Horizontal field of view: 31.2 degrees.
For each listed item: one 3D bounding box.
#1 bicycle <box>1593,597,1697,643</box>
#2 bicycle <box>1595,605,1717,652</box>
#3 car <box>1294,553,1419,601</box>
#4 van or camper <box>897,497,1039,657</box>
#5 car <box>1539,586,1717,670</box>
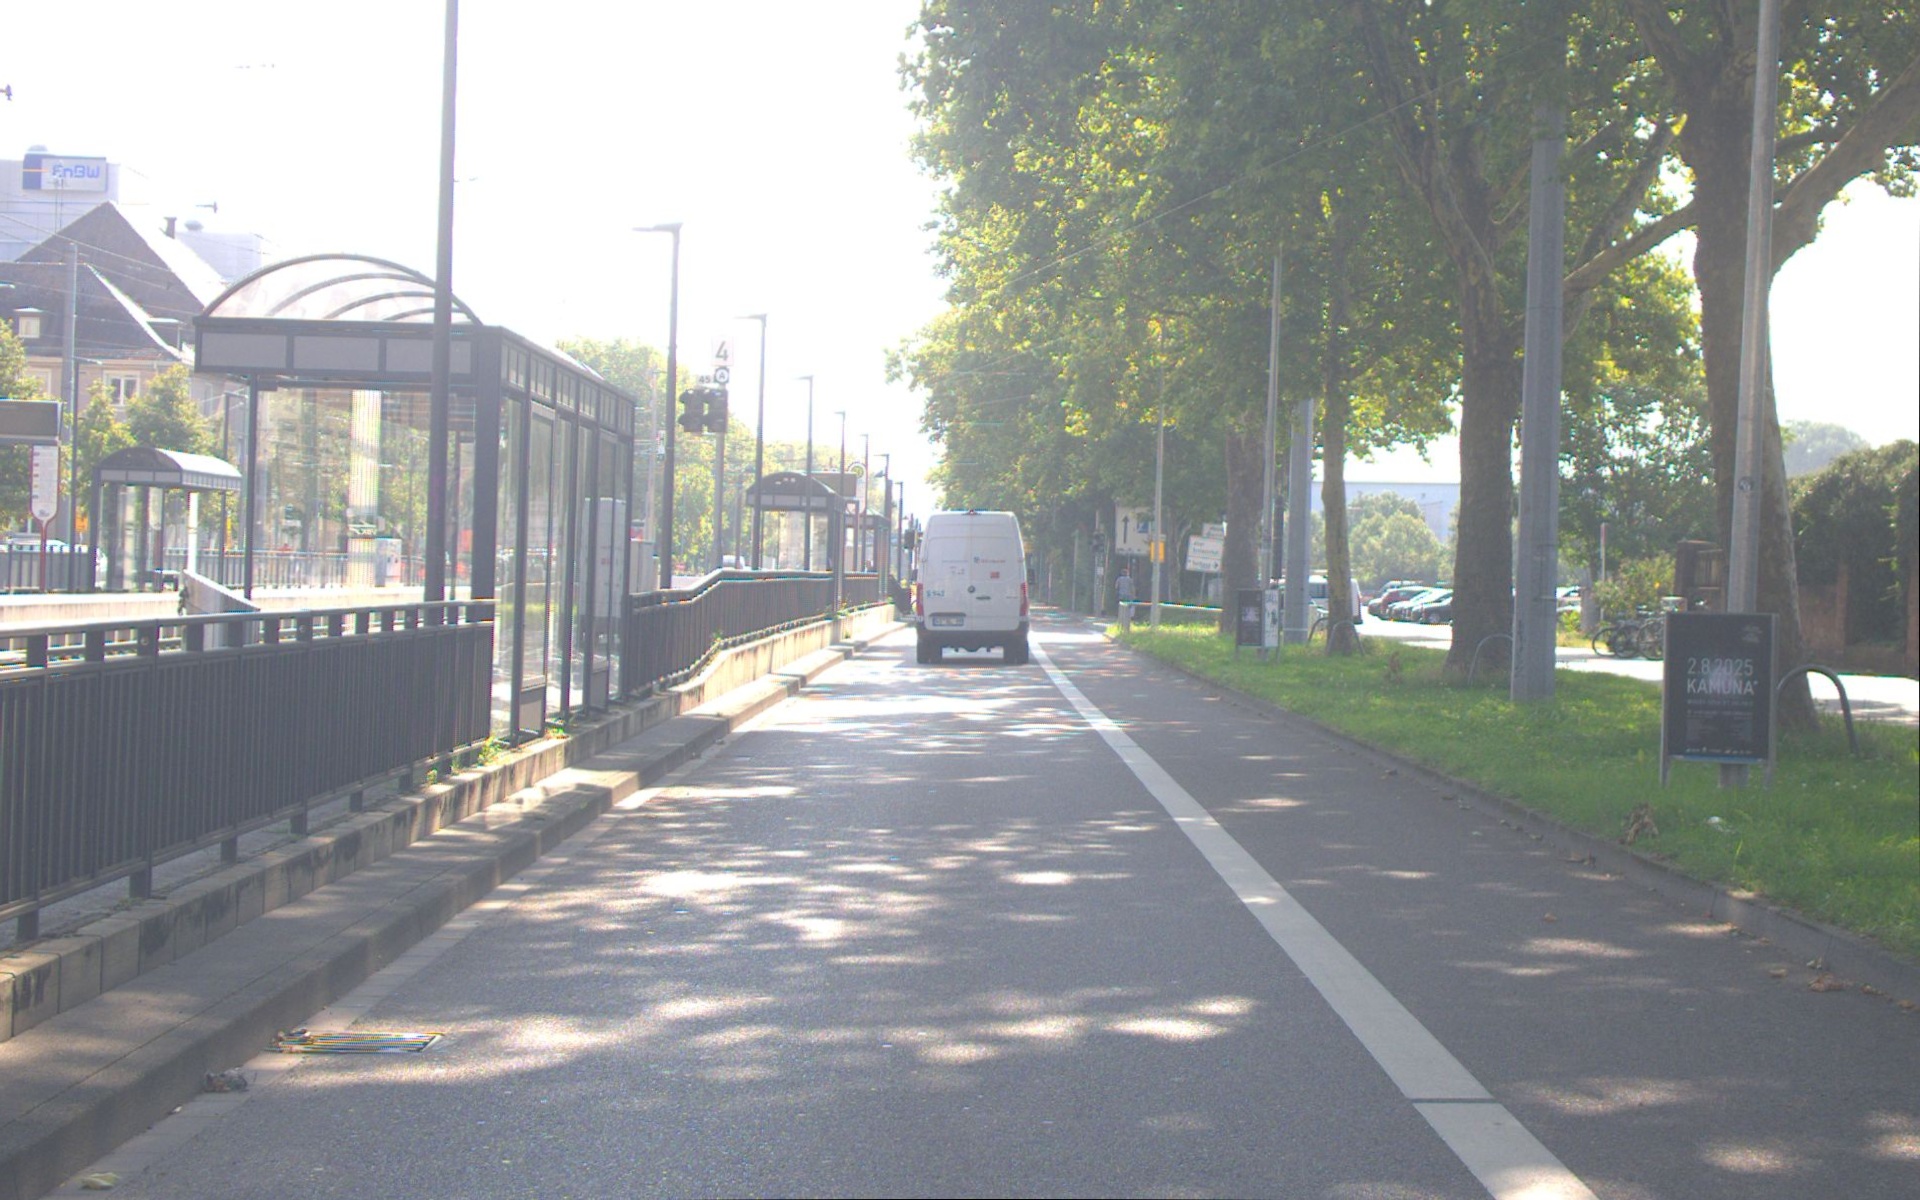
[{"bbox_3d":[13.349,0.390,67.044,1.932,0.844,0.372,1,1,1],"label":"bicycle"},{"bbox_3d":[13.051,0.534,64.478,2.180,0.844,0.503,1,1,1],"label":"bicycle"},{"bbox_3d":[13.541,-0.779,117.562,3.987,1.371,2.000,3,0,0],"label":"car"},{"bbox_3d":[0.092,-0.431,61.488,2.115,2.673,5.251,-2,1,-4],"label":"van or camper"},{"bbox_3d":[16.797,0.710,86.600,3.987,1.875,2.000,3,0,0],"label":"car"}]
